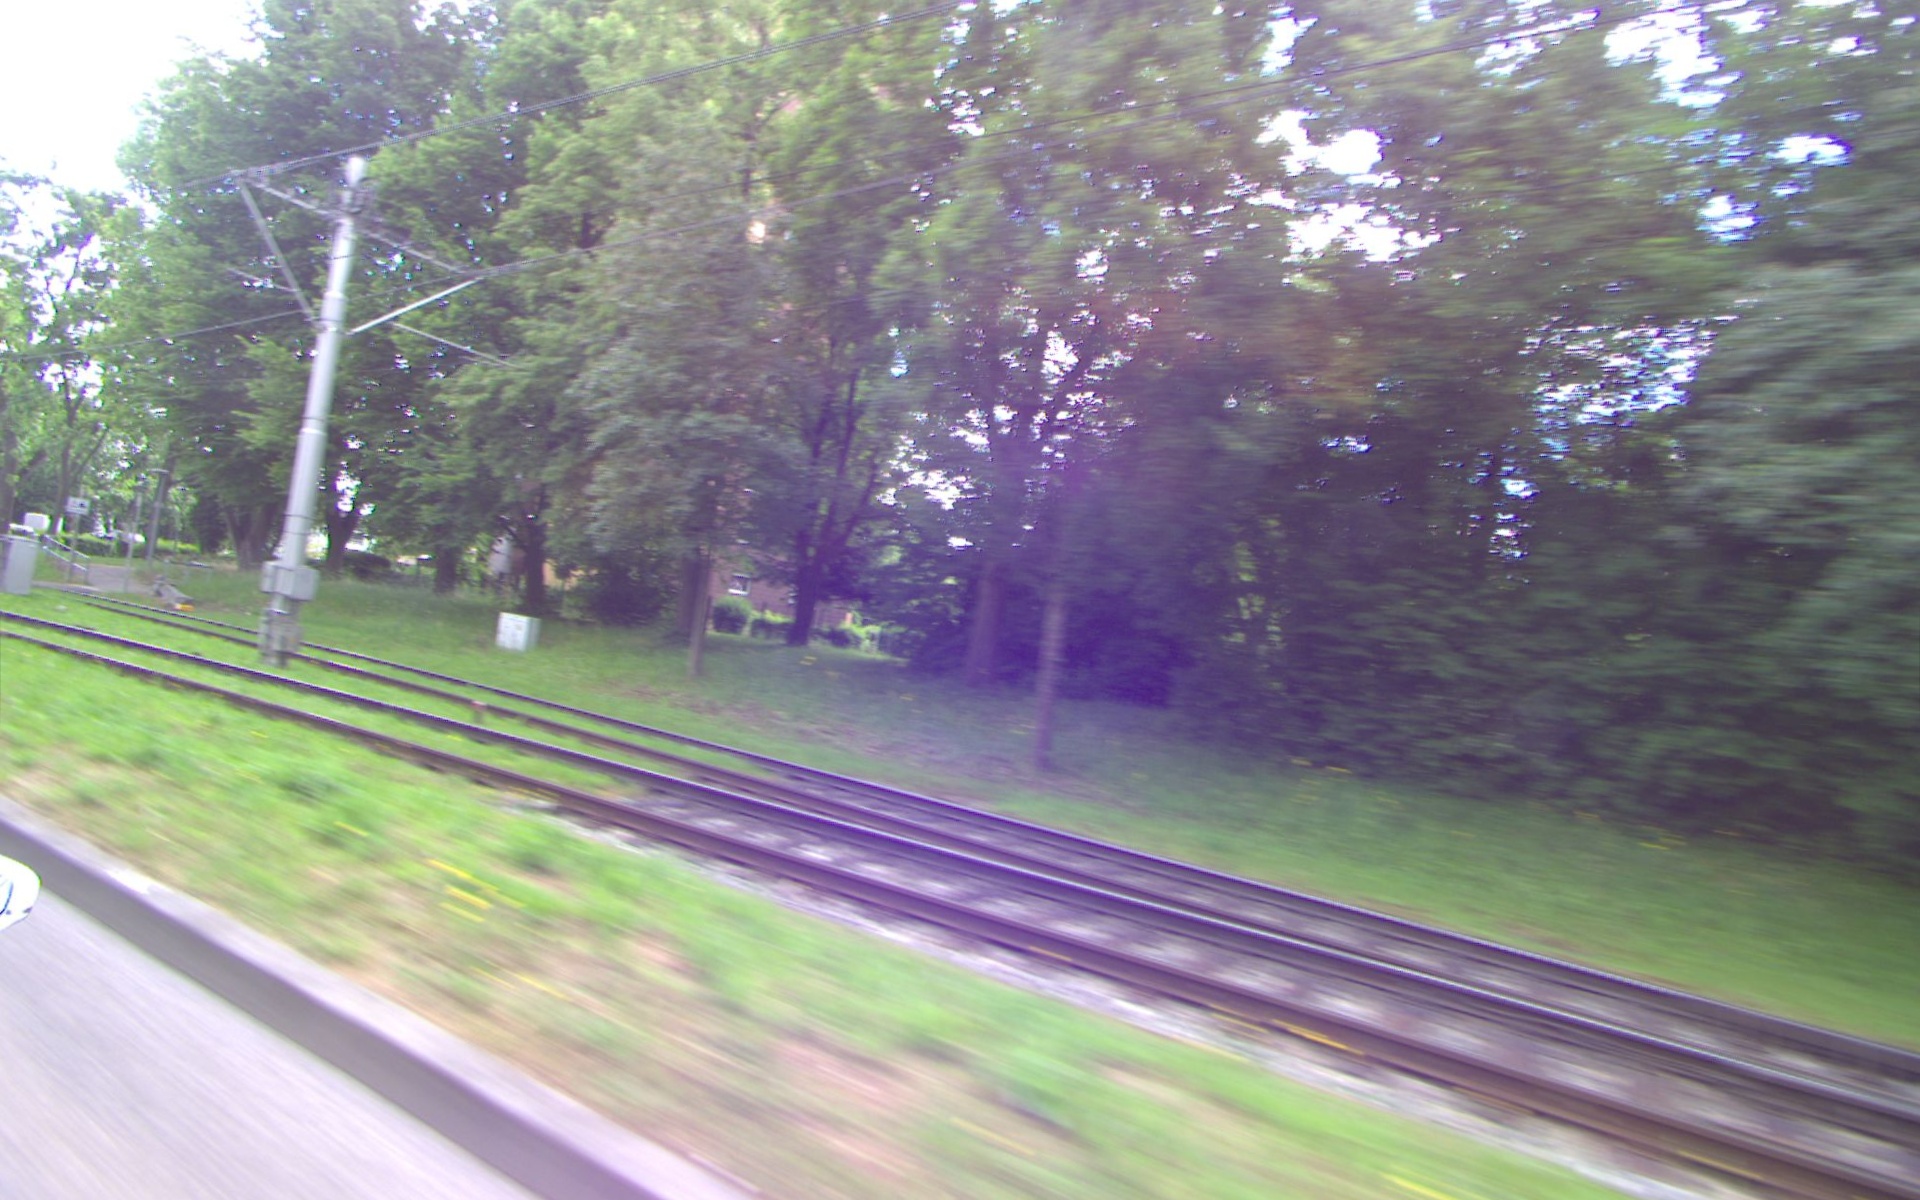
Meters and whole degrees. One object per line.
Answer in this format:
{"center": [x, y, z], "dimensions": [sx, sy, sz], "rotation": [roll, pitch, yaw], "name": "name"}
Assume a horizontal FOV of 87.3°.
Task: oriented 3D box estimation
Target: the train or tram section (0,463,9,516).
{"center": [-41.905, -3.709, 37.949], "dimensions": [18.213, 3.776, 2.823], "rotation": [5, -4, 28], "name": "train or tram section"}
